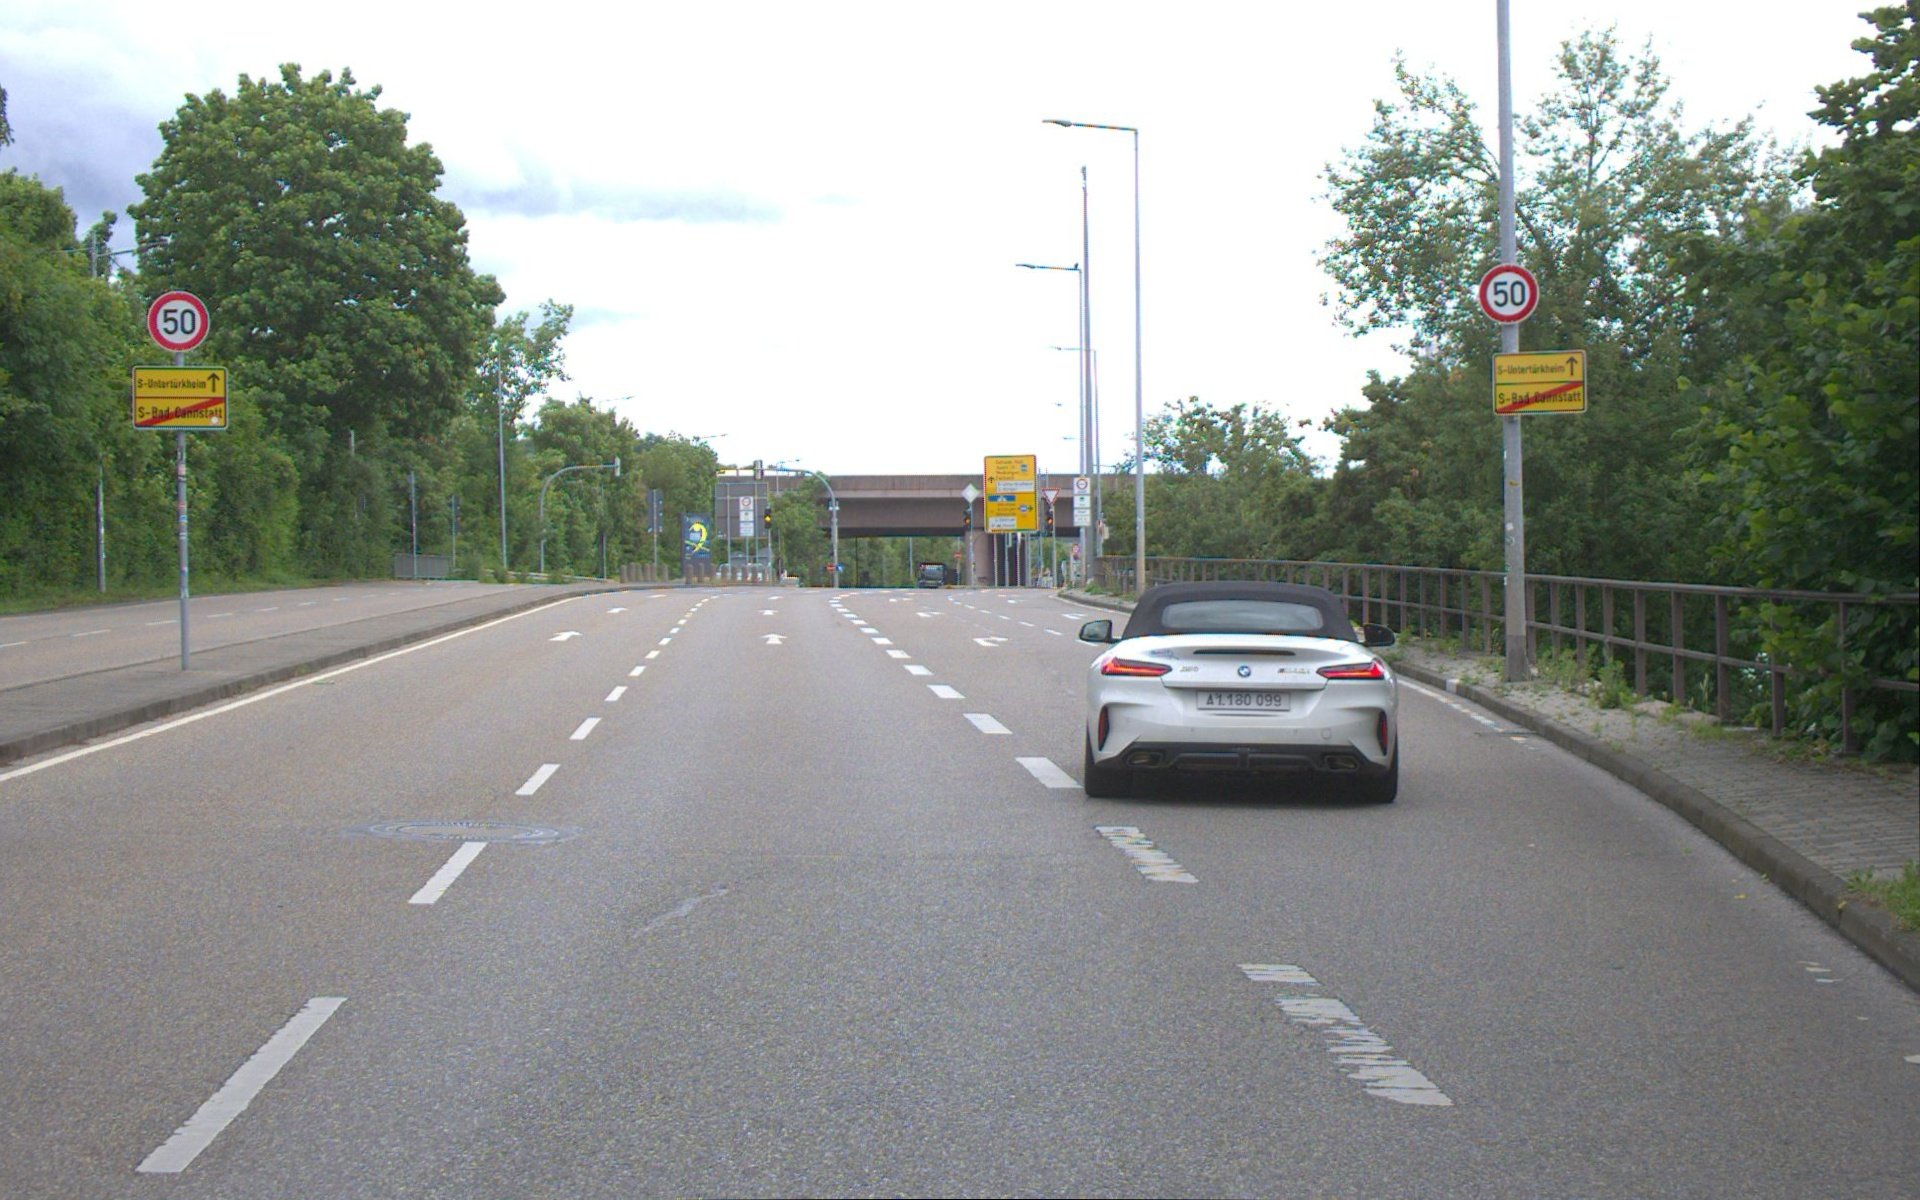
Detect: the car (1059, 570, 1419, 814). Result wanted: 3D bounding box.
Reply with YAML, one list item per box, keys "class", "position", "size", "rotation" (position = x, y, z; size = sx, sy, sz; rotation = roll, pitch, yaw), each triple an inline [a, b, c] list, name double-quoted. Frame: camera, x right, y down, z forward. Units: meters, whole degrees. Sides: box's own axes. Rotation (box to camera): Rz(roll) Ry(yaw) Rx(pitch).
- class: "car"
  position: [1.649, 0.510, 21.585]
  size: [1.875, 1.305, 3.873]
  rotation: [1, 1, -1]
